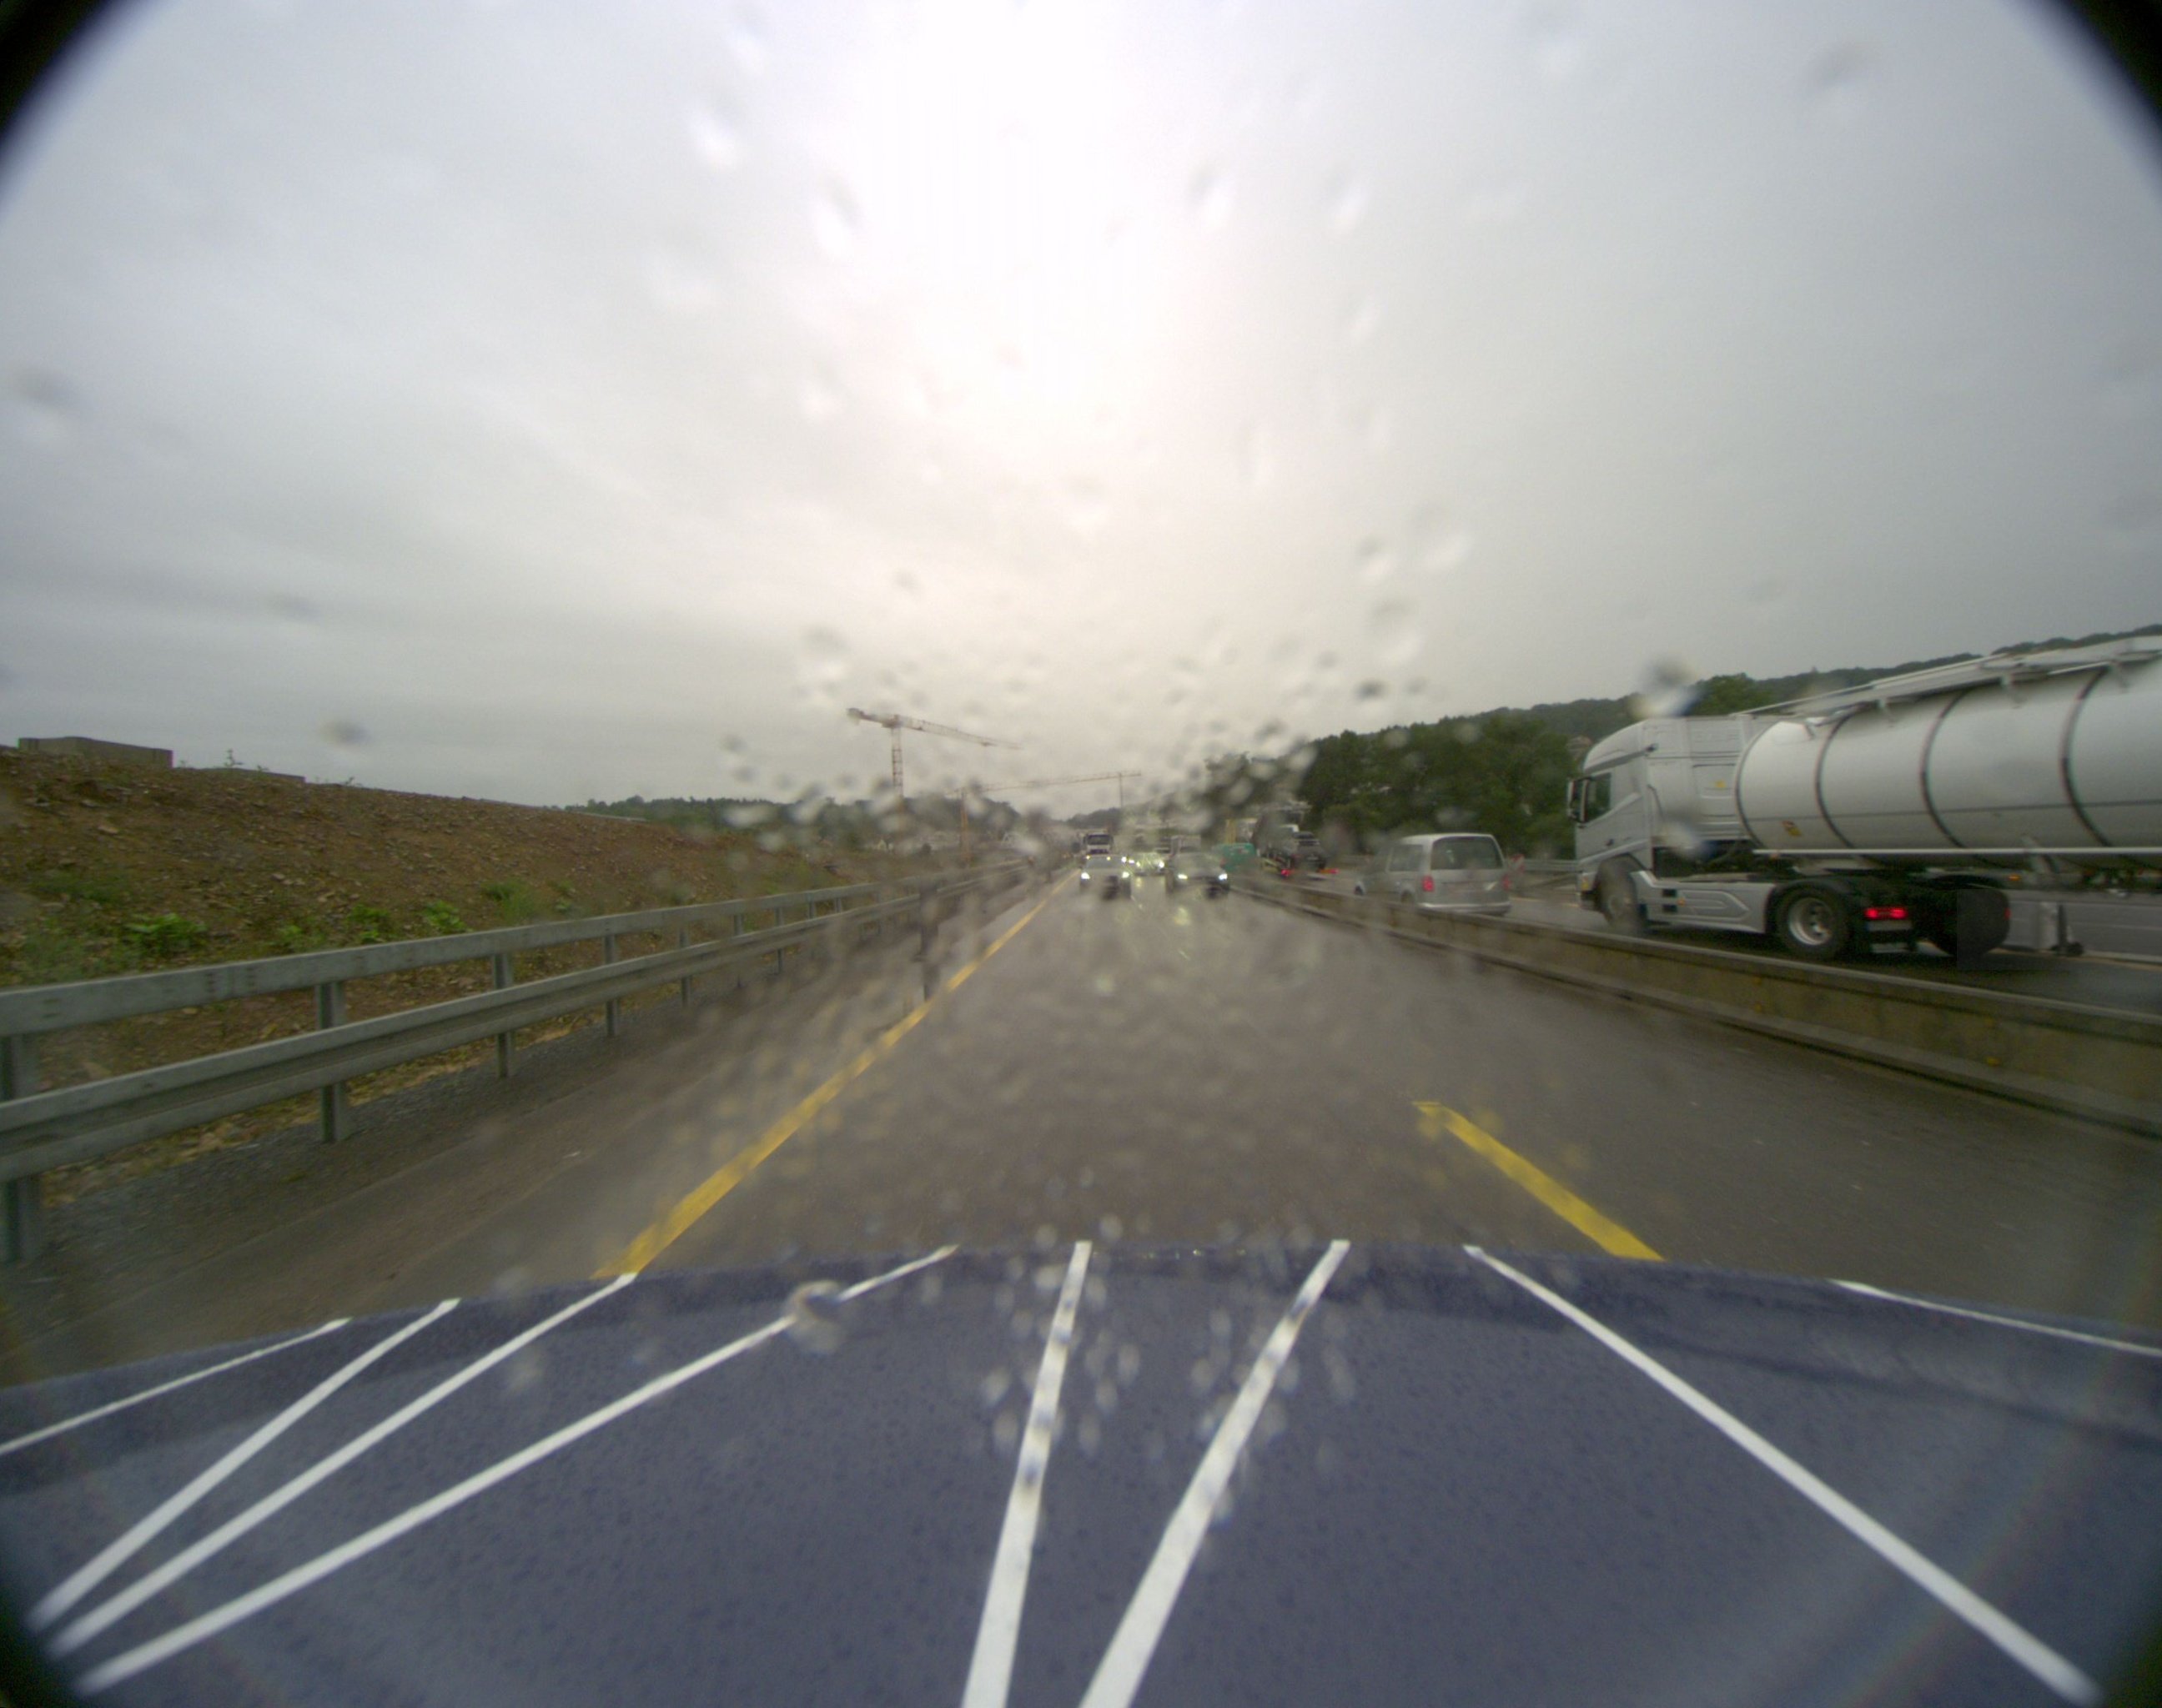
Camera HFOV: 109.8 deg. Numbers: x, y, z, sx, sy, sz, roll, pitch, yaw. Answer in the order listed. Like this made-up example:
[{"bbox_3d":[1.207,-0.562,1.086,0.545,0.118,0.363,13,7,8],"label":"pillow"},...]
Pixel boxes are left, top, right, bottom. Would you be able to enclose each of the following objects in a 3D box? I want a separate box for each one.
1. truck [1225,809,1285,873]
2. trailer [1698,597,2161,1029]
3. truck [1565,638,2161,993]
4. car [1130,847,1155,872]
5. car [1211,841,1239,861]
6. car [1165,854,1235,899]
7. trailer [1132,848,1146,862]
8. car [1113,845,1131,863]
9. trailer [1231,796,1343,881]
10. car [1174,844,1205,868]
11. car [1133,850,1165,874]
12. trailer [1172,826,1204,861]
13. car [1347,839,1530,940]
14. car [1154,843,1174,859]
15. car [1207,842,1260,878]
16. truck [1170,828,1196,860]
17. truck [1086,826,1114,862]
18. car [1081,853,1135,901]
[{"bbox_3d":[11.686,-0.866,51.644,2.756,4.039,6.148,-1,1,2],"label":"truck"},{"bbox_3d":[10.462,-0.363,5.337,2.627,3.656,12.003,-1,0,1],"label":"trailer"},{"bbox_3d":[10.555,-0.413,11.227,2.627,3.656,6.595,-1,0,1],"label":"truck"},{"bbox_3d":[5.241,0.483,64.169,1.998,2.002,4.002,-1,0,6],"label":"car"},{"bbox_3d":[15.769,-0.327,83.375,2.270,2.002,5.046,-1,1,2],"label":"car"},{"bbox_3d":[4.167,0.739,27.310,1.951,1.430,4.484,-1,1,2],"label":"car"},{"bbox_3d":[16.760,0.380,220.419,3.285,3.885,13.701,-1,0,2],"label":"trailer"},{"bbox_3d":[4.934,0.008,91.665,1.998,2.001,4.189,-2,-2,1],"label":"car"},{"bbox_3d":[11.460,-0.810,44.375,2.756,4.019,15.358,-1,1,2],"label":"trailer"},{"bbox_3d":[8.407,0.121,59.031,1.791,1.795,5.189,0,1,1],"label":"car"},{"bbox_3d":[4.322,0.458,48.493,1.781,1.430,4.484,-1,1,2],"label":"car"},{"bbox_3d":[12.761,-1.241,91.354,2.692,3.940,9.819,0,1,1],"label":"trailer"},{"bbox_3d":[7.180,0.629,15.795,1.870,1.789,4.163,-1,0,1],"label":"car"},{"bbox_3d":[9.633,-0.325,88.504,1.879,1.782,5.359,-1,1,1],"label":"car"},{"bbox_3d":[8.015,0.287,40.329,1.998,1.749,4.688,-1,0,2],"label":"car"},{"bbox_3d":[12.879,-1.293,96.114,2.692,3.904,5.273,0,1,1],"label":"truck"},{"bbox_3d":[1.967,-1.007,76.778,2.575,3.451,6.627,-1,1,2],"label":"truck"},{"bbox_3d":[0.986,0.762,27.429,1.781,1.514,4.140,-1,1,2],"label":"car"}]
